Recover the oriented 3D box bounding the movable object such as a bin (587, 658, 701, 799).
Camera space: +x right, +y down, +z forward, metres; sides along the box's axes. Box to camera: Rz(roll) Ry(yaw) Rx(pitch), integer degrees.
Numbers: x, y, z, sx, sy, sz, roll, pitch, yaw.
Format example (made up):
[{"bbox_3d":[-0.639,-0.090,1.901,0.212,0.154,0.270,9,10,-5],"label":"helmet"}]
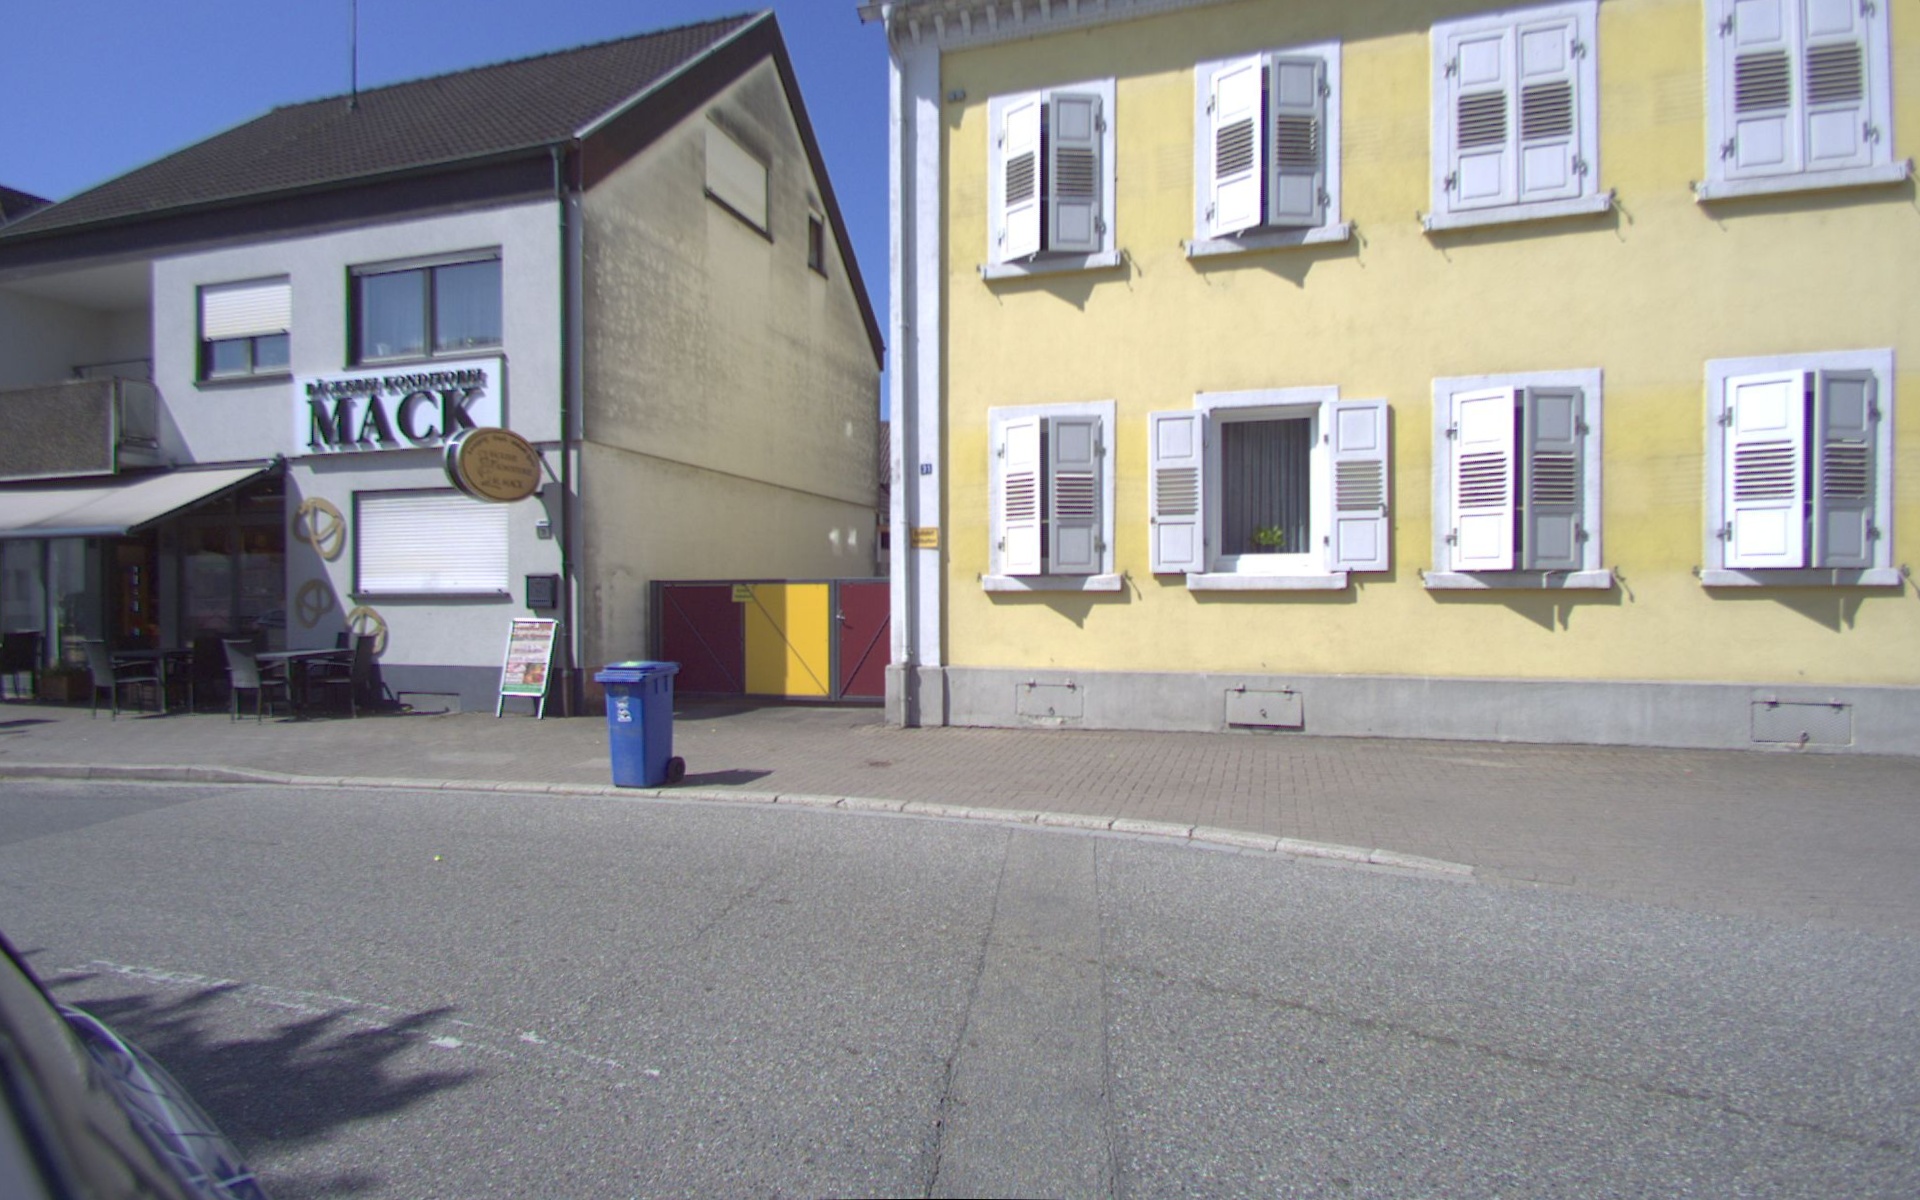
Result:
[{"bbox_3d":[-2.403,0.957,7.736,0.607,0.988,0.643,-1,0,10],"label":"movable object such as a bin"}]
